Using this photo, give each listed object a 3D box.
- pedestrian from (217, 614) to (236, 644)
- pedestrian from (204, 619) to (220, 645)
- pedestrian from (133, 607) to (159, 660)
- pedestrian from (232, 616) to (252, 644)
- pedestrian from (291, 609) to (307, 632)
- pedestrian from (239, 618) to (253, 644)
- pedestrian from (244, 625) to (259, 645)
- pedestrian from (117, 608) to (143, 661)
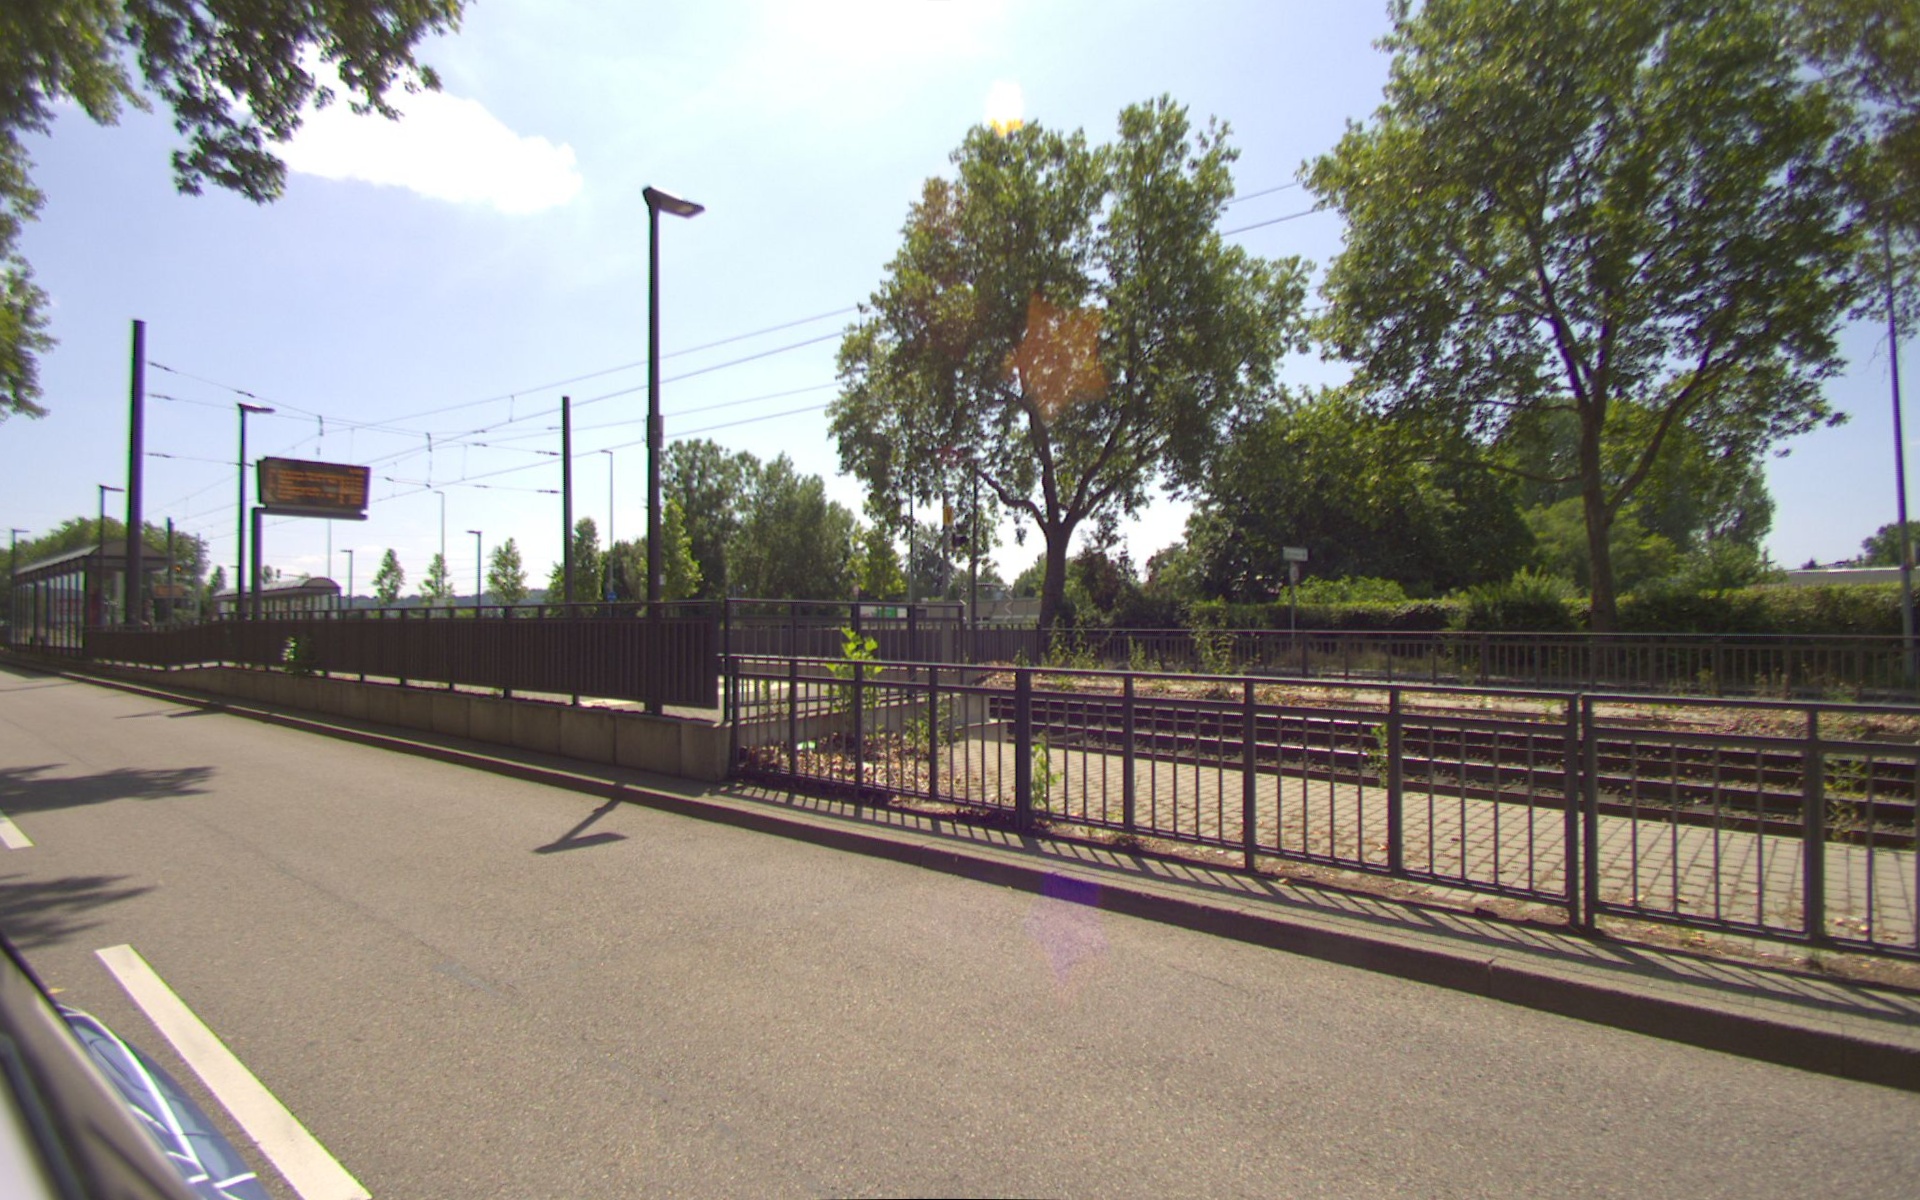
[{"bbox_3d":[-43.370,1.722,59.848,0.726,1.742,0.579,0,-2,-11],"label":"pedestrian"},{"bbox_3d":[-47.053,2.001,63.667,0.804,1.650,0.552,-2,-1,34],"label":"pedestrian"},{"bbox_3d":[-23.587,0.979,29.338,0.413,1.519,0.396,0,-1,0],"label":"pedestrian"},{"bbox_3d":[-42.060,1.749,59.281,0.814,1.651,0.579,0,-2,-11],"label":"pedestrian"},{"bbox_3d":[-34.142,1.047,52.260,0.639,1.199,0.570,-2,-2,42],"label":"pedestrian"},{"bbox_3d":[-41.471,1.795,58.781,0.639,1.545,0.570,-2,-2,42],"label":"pedestrian"},{"bbox_3d":[-40.175,1.994,57.399,0.639,1.103,0.570,-2,-2,42],"label":"pedestrian"},{"bbox_3d":[-24.017,0.988,29.283,0.413,1.519,0.396,0,-1,0],"label":"pedestrian"}]
